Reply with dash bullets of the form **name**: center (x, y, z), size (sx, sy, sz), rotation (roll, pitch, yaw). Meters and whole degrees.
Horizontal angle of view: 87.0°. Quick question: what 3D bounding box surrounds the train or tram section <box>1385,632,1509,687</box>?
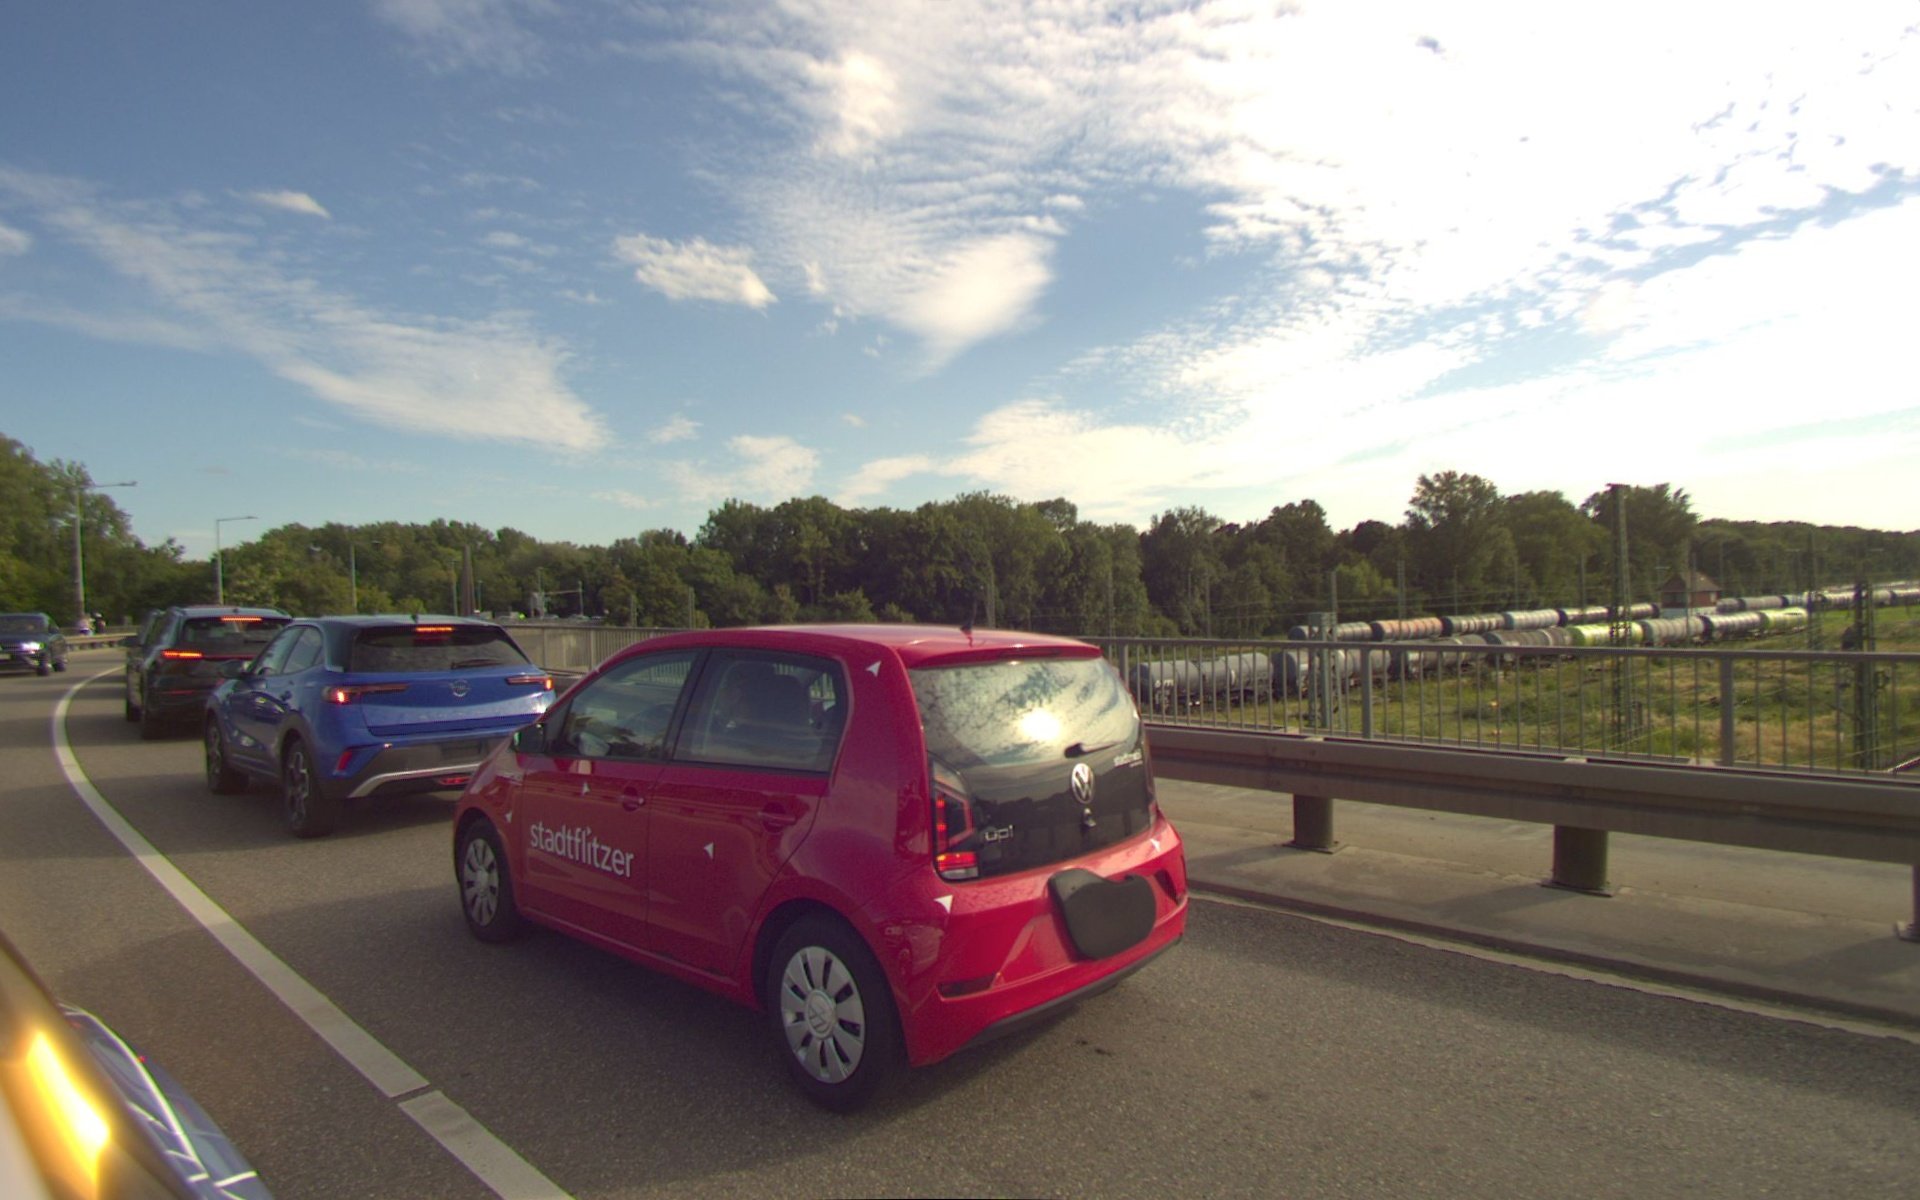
- **train or tram section**: center (47.807, 5.640, 98.976), size (16.469, 4.748, 3.105), rotation (0, -1, -34)

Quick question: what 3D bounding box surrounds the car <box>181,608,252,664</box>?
- **car**: center (-27.386, 1.299, 37.297), size (1.981, 1.918, 4.879), rotation (1, -2, -36)

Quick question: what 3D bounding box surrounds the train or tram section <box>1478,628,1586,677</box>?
- **train or tram section**: center (61.398, 5.485, 108.291), size (16.469, 4.748, 3.105), rotation (0, -1, -34)

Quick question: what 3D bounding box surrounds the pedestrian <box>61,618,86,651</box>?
- **pedestrian**: center (-42.125, 1.639, 48.086), size (0.667, 1.555, 0.964), rotation (0, -1, -28)

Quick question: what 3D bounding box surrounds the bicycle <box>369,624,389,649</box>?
- **bicycle**: center (-32.171, 2.021, 56.055), size (0.753, 1.342, 1.922), rotation (0, -1, -24)

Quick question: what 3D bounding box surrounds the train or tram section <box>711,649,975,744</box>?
- **train or tram section**: center (-6.707, 5.619, 61.802), size (16.470, 4.748, 3.105), rotation (0, -1, -35)

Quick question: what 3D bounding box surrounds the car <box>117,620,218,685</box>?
- **car**: center (-19.678, 1.237, 25.265), size (1.809, 1.477, 4.528), rotation (1, -2, -37)

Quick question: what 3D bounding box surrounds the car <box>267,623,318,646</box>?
- **car**: center (-46.591, 2.387, 70.746), size (1.789, 1.518, 4.404), rotation (0, -1, -17)

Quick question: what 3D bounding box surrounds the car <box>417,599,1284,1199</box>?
- **car**: center (-0.752, 0.773, 4.284), size (3.736, 1.475, 1.582), rotation (-1, -2, 43)

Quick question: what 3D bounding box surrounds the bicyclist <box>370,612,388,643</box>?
- **bicyclist**: center (-32.130, 1.517, 56.002), size (0.755, 1.673, 1.124), rotation (0, -1, -24)

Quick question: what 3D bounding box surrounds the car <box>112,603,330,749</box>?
- **car**: center (-10.290, 0.917, 13.946), size (1.902, 1.662, 4.593), rotation (1, -2, -43)

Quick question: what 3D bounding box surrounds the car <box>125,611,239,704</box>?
- **car**: center (-15.644, 1.069, 20.321), size (1.660, 1.662, 4.306), rotation (1, -1, -39)

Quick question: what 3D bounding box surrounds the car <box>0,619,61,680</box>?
- **car**: center (-25.263, 1.268, 26.770), size (1.790, 1.518, 4.401), rotation (1, -2, -37)

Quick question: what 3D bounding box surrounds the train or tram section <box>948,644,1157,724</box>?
- **train or tram section**: center (6.877, 5.653, 71.119), size (16.470, 4.748, 3.105), rotation (0, -1, -35)

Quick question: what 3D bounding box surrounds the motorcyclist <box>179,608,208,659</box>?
- **motorcyclist**: center (-24.088, 1.056, 31.810), size (0.612, 1.565, 0.940), rotation (1, -2, -33)

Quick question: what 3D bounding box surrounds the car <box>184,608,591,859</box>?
- **car**: center (-4.798, 0.854, 8.226), size (4.008, 1.531, 1.779), rotation (-1, -2, 43)

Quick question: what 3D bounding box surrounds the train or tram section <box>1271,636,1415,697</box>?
- **train or tram section**: center (34.193, 5.726, 89.716), size (16.469, 4.748, 3.105), rotation (0, -1, -34)

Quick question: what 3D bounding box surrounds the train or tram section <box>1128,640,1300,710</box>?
- **train or tram section**: center (20.438, 5.742, 80.401), size (16.469, 4.748, 3.105), rotation (0, -1, -34)

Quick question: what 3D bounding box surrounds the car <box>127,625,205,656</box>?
- **car**: center (-38.878, 1.949, 49.681), size (1.788, 1.415, 4.405), rotation (1, -1, -21)

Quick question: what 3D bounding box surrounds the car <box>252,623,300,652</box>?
- **car**: center (-37.622, 2.034, 55.722), size (1.716, 1.512, 4.090), rotation (1, -1, -28)

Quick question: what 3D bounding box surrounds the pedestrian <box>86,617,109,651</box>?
- **pedestrian**: center (-42.227, 1.656, 49.547), size (0.667, 1.674, 0.868), rotation (0, -1, -26)

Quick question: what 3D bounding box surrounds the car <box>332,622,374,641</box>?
- **car**: center (-50.046, 2.571, 83.517), size (1.789, 1.518, 4.403), rotation (0, -1, -14)
